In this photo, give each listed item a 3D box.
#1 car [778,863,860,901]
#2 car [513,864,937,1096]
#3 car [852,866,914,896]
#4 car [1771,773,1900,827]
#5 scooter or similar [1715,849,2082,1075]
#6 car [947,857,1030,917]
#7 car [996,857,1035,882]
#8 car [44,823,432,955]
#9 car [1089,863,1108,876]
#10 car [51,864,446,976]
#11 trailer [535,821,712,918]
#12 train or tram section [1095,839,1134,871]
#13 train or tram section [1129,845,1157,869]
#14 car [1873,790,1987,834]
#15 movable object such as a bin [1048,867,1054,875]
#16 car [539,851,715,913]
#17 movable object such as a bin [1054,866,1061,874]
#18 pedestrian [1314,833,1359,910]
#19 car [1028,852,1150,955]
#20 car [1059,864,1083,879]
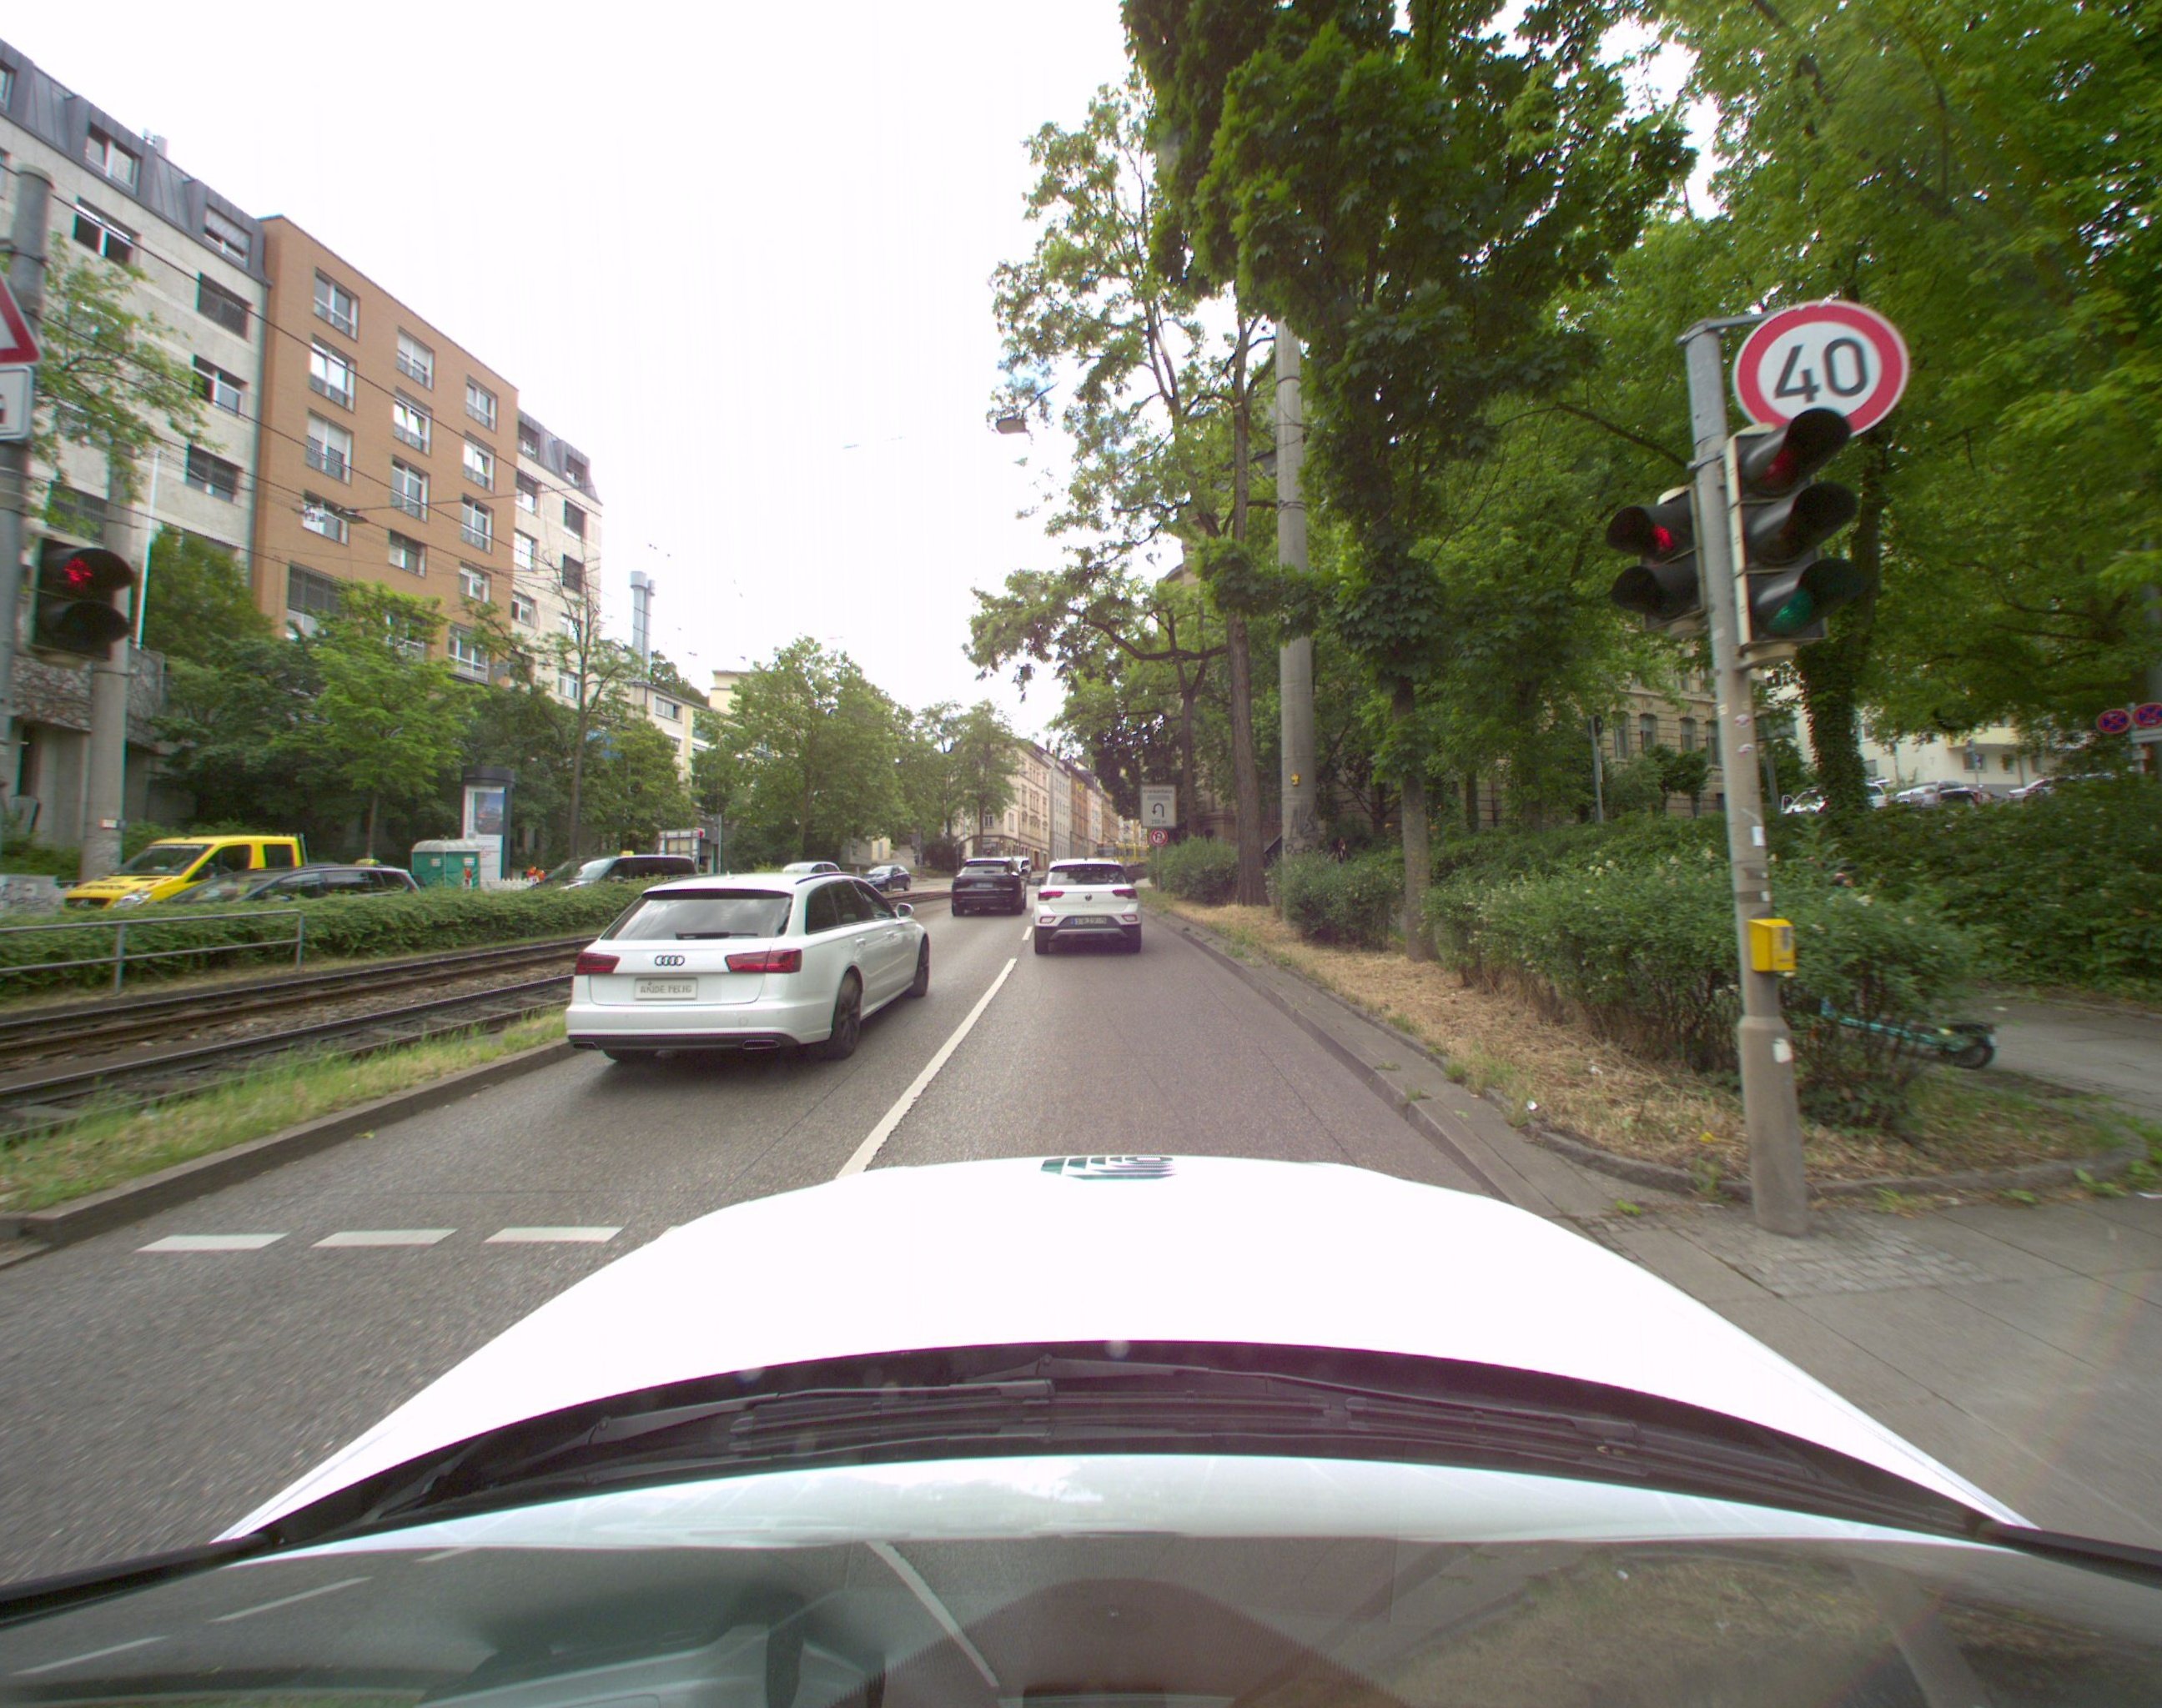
[{"bbox_3d":[-10.982,1.153,34.370,1.648,1.443,3.751,-2,-1,11],"label":"car"},{"bbox_3d":[-2.724,0.844,7.604,1.873,1.455,4.617,-1,-1,0],"label":"car"},{"bbox_3d":[-10.301,1.392,42.639,1.756,1.408,4.091,-2,-1,8],"label":"car"},{"bbox_3d":[34.847,-2.499,37.612,5.220,1.933,2.163,-4,-3,-21],"label":"car"},{"bbox_3d":[5.110,0.600,5.250,0.630,1.210,1.551,-2,-1,-11],"label":"scooter or similar"},{"bbox_3d":[-2.638,0.919,24.323,2.032,1.571,4.355,-1,-1,-1],"label":"car"},{"bbox_3d":[-5.391,1.258,67.626,1.935,1.946,5.016,-1,0,10],"label":"car"},{"bbox_3d":[-19.539,0.739,19.554,2.144,2.594,6.350,-2,-1,8],"label":"car"},{"bbox_3d":[2.363,2.081,108.811,1.982,1.552,4.009,-2,-1,8],"label":"car"},{"bbox_3d":[-14.250,1.015,14.462,1.983,1.605,4.628,-2,-1,6],"label":"car"},{"bbox_3d":[-15.405,0.498,27.909,2.006,2.973,5.608,0,-1,12],"label":"trailer"},{"bbox_3d":[4.394,0.179,103.037,2.864,3.726,14.897,0,-1,10],"label":"train or tram section"},{"bbox_3d":[10.587,0.598,138.058,2.858,3.726,18.807,0,-1,10],"label":"train or tram section"},{"bbox_3d":[40.599,-1.973,38.948,4.891,1.755,1.986,1,-3,-21],"label":"car"},{"bbox_3d":[-4.001,2.228,108.804,0.682,1.074,0.678,-1,-1,10],"label":"movable object such as a bin"},{"bbox_3d":[-13.045,0.759,23.828,1.981,1.605,4.622,-2,-1,10],"label":"car"},{"bbox_3d":[-3.273,2.273,112.993,0.723,1.074,0.673,-1,-1,10],"label":"movable object such as a bin"},{"bbox_3d":[5.855,0.394,18.708,0.768,1.703,0.785,-2,-1,2],"label":"pedestrian"},{"bbox_3d":[0.002,0.797,14.677,1.875,1.555,3.994,-1,-1,-4],"label":"car"},{"bbox_3d":[-1.076,1.884,89.488,1.982,1.552,4.009,-2,-1,8],"label":"car"}]
